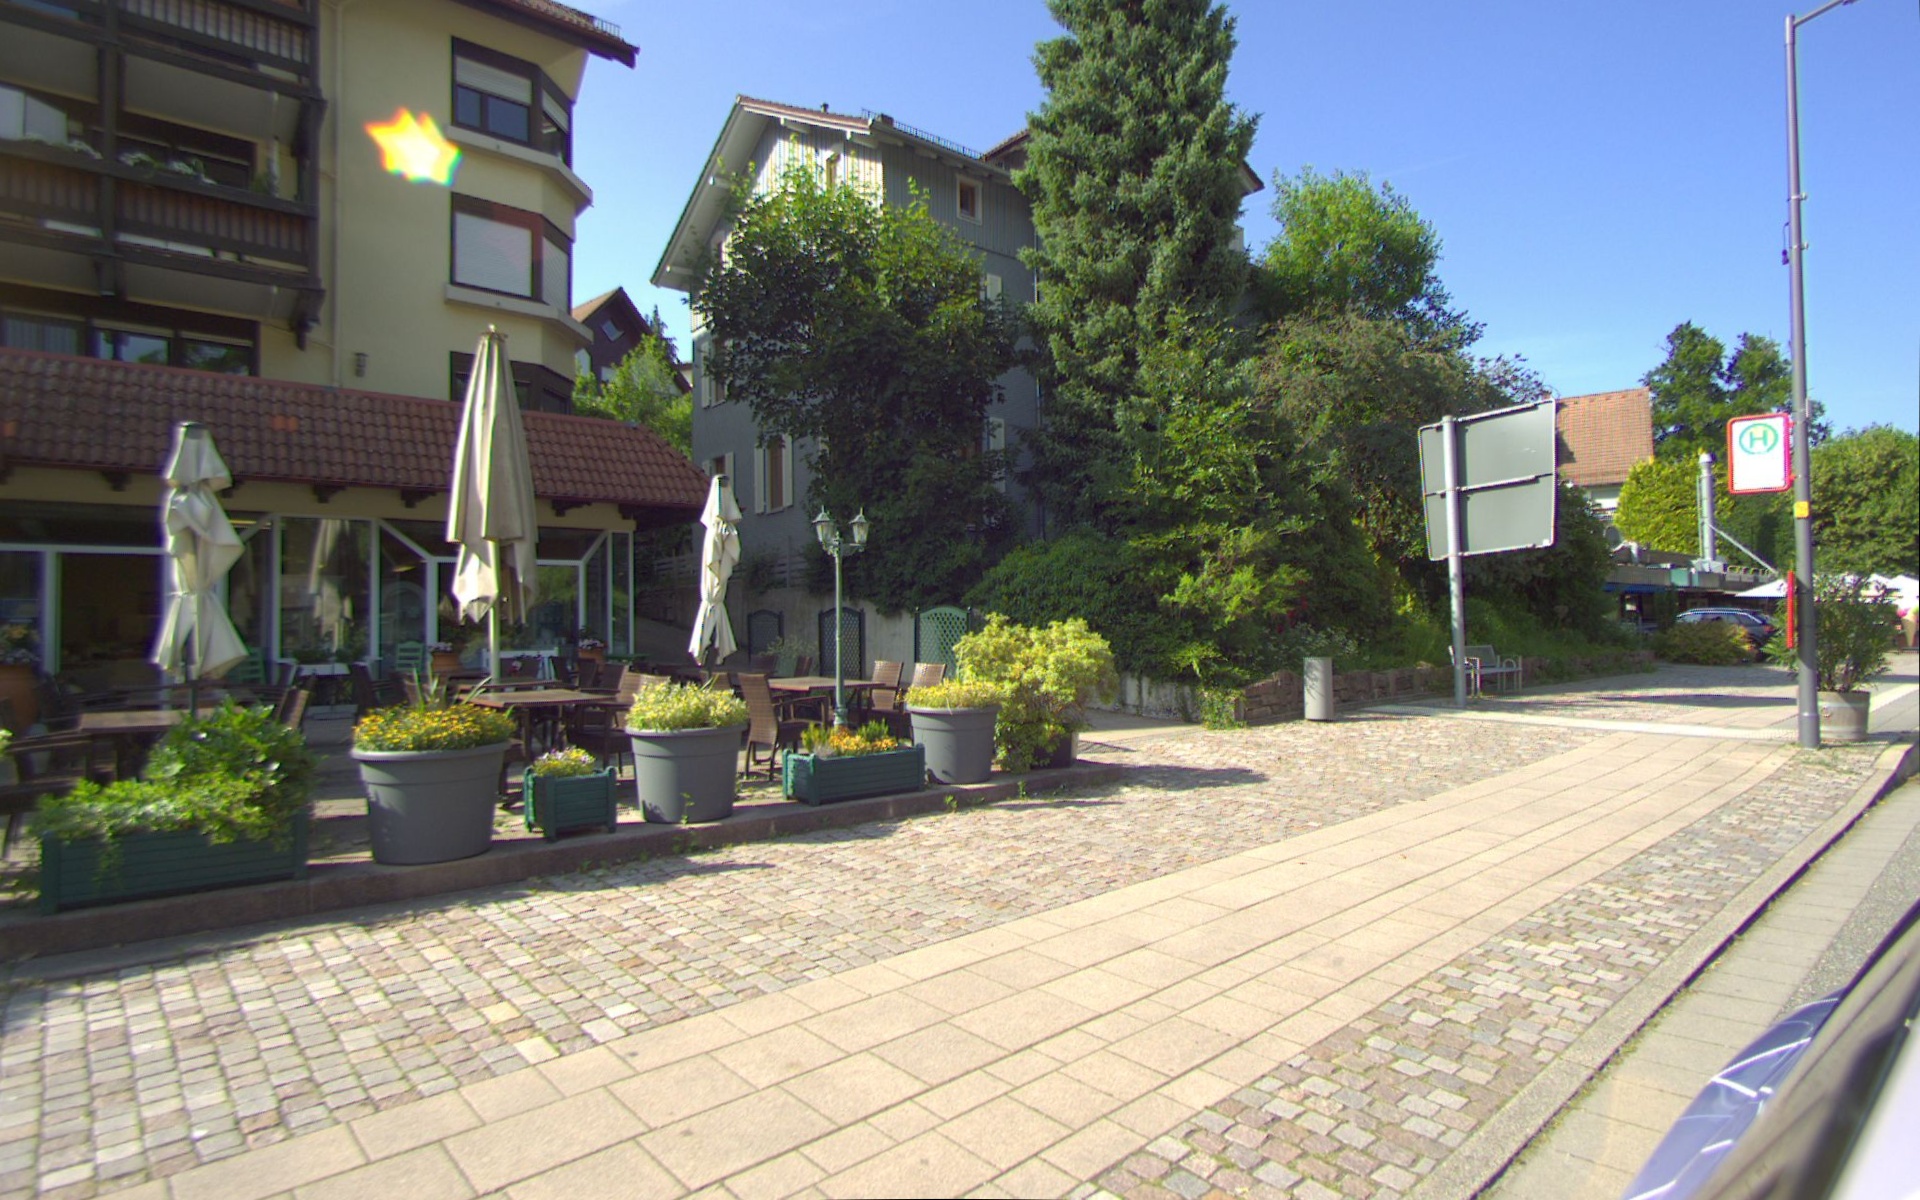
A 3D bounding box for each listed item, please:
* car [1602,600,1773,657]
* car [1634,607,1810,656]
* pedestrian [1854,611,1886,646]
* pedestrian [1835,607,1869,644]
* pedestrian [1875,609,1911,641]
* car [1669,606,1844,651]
[{"bbox_3d":[21.732,0.851,30.337,1.719,1.600,3.879,0,-2,-43],"label":"car"},{"bbox_3d":[24.036,0.991,32.040,1.716,1.433,4.118,0,-1,-38],"label":"car"},{"bbox_3d":[33.329,1.035,37.073,0.809,1.277,0.690,-2,-2,42],"label":"pedestrian"},{"bbox_3d":[33.915,0.957,38.472,0.692,1.399,0.807,-1,-1,21],"label":"pedestrian"},{"bbox_3d":[37.079,0.989,40.221,0.686,1.277,0.814,0,-1,-20],"label":"pedestrian"},{"bbox_3d":[26.454,0.951,33.738,1.678,1.396,4.272,0,-1,-38],"label":"car"}]
